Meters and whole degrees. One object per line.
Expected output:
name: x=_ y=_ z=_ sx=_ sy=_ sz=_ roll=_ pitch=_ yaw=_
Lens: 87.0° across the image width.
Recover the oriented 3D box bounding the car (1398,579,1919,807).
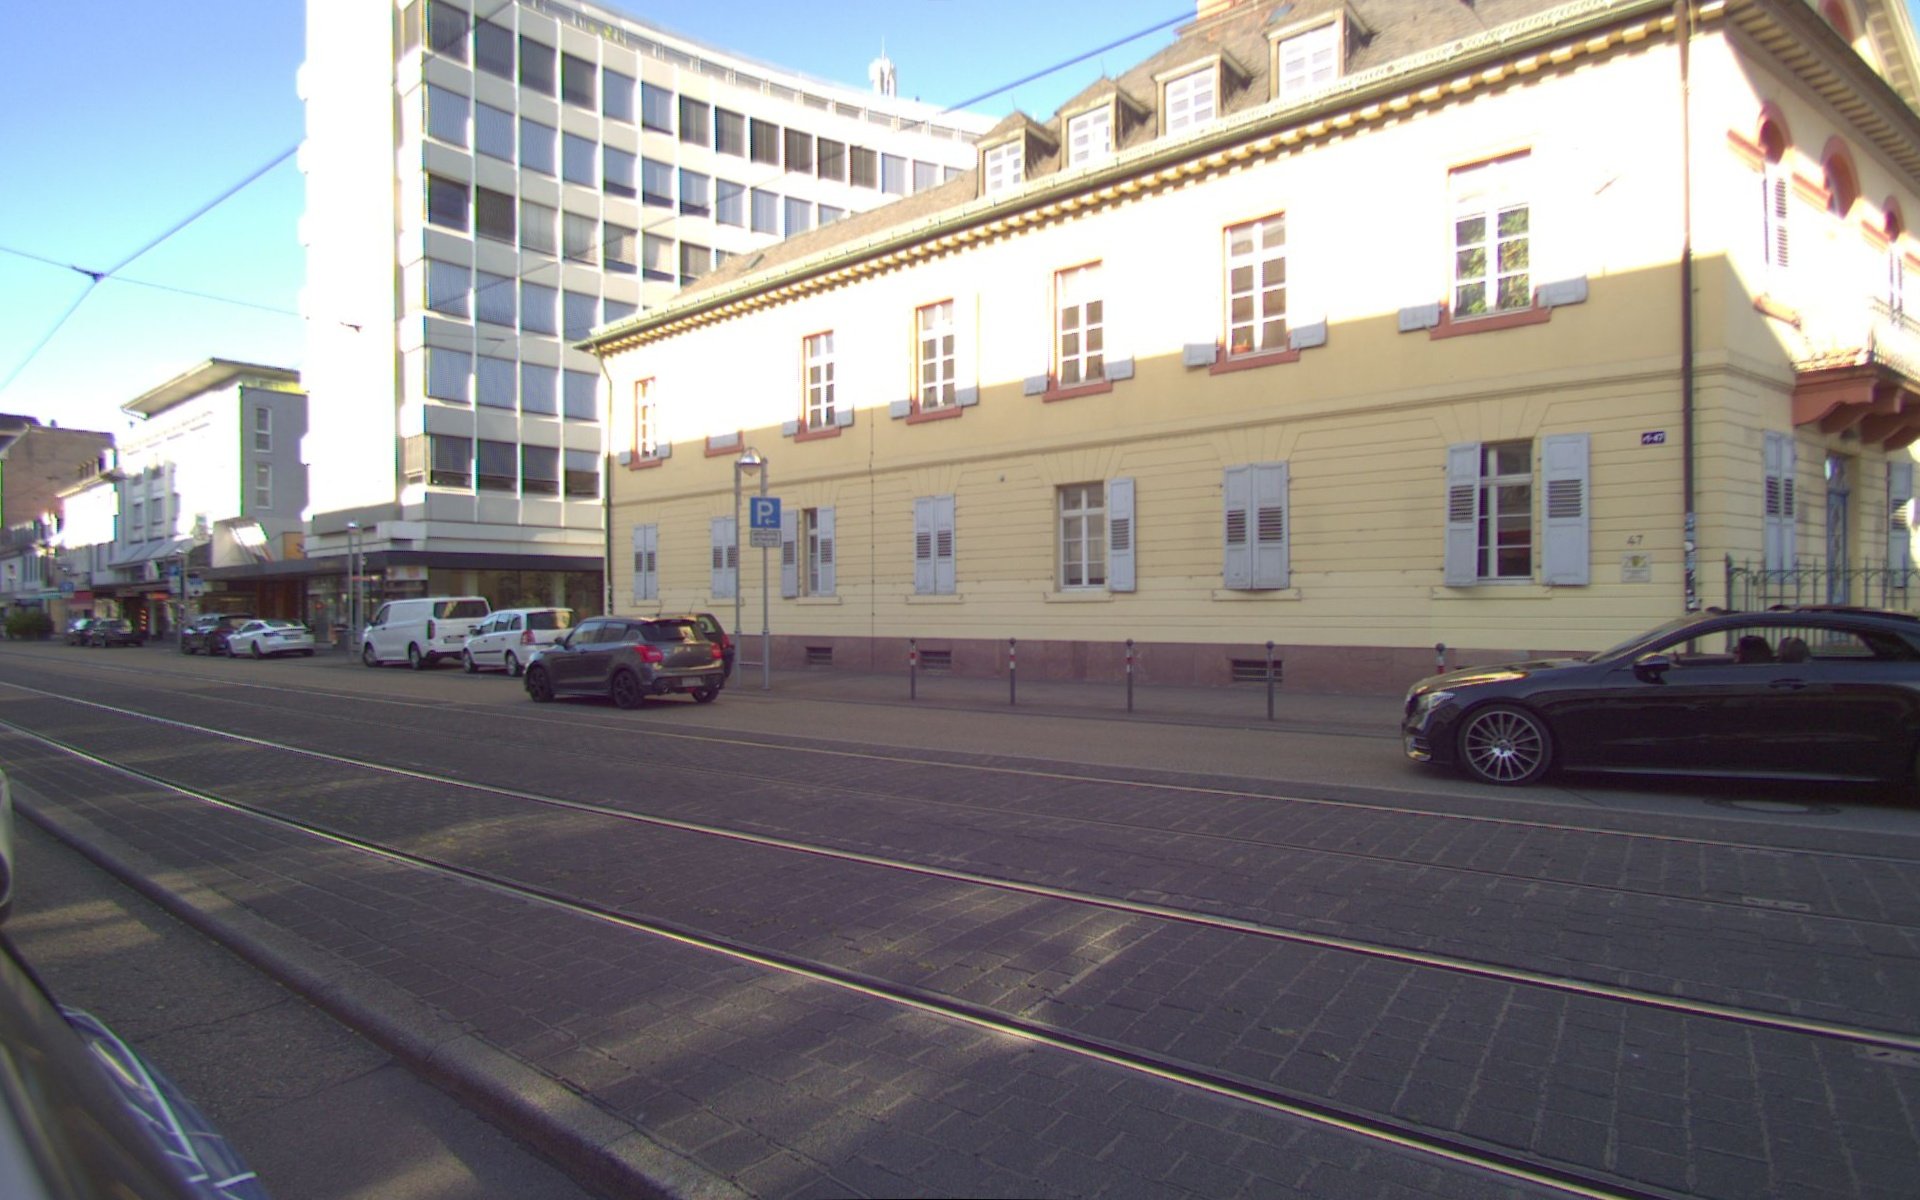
car: x=6.073 y=0.653 z=7.979 sx=4.650 sy=1.521 sz=1.765 roll=-1 pitch=-2 yaw=30

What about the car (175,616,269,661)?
car: x=-29.835 y=1.522 z=40.866 sx=4.275 sy=1.654 sz=1.908 roll=-1 pitch=1 yaw=37

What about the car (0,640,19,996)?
car: x=-6.326 y=0.903 z=5.025 sx=4.771 sy=1.450 sz=1.845 roll=-1 pitch=-2 yaw=40

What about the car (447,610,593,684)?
car: x=-11.091 y=1.113 z=25.397 sx=4.175 sy=1.632 sz=1.758 roll=-1 pitch=1 yaw=42

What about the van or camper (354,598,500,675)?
van or camper: x=-15.329 y=0.993 z=29.012 sx=4.792 sy=1.988 sz=1.936 roll=-1 pitch=1 yaw=39

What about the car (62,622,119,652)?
car: x=-47.935 y=2.011 z=55.786 sx=3.830 sy=1.531 sz=1.764 roll=-1 pitch=0 yaw=40

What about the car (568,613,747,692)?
car: x=-6.492 y=1.047 z=21.574 sx=3.958 sy=1.450 sz=1.759 roll=-1 pitch=1 yaw=40

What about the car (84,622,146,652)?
car: x=-43.661 y=1.888 z=52.258 sx=3.593 sy=1.427 sz=1.764 roll=-1 pitch=0 yaw=38

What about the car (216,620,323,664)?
car: x=-25.631 y=1.527 z=37.542 sx=4.285 sy=1.463 sz=1.909 roll=-1 pitch=1 yaw=36

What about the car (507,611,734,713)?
car: x=-5.754 y=0.978 z=16.998 sx=3.854 sy=1.521 sz=1.760 roll=-1 pitch=-2 yaw=37
